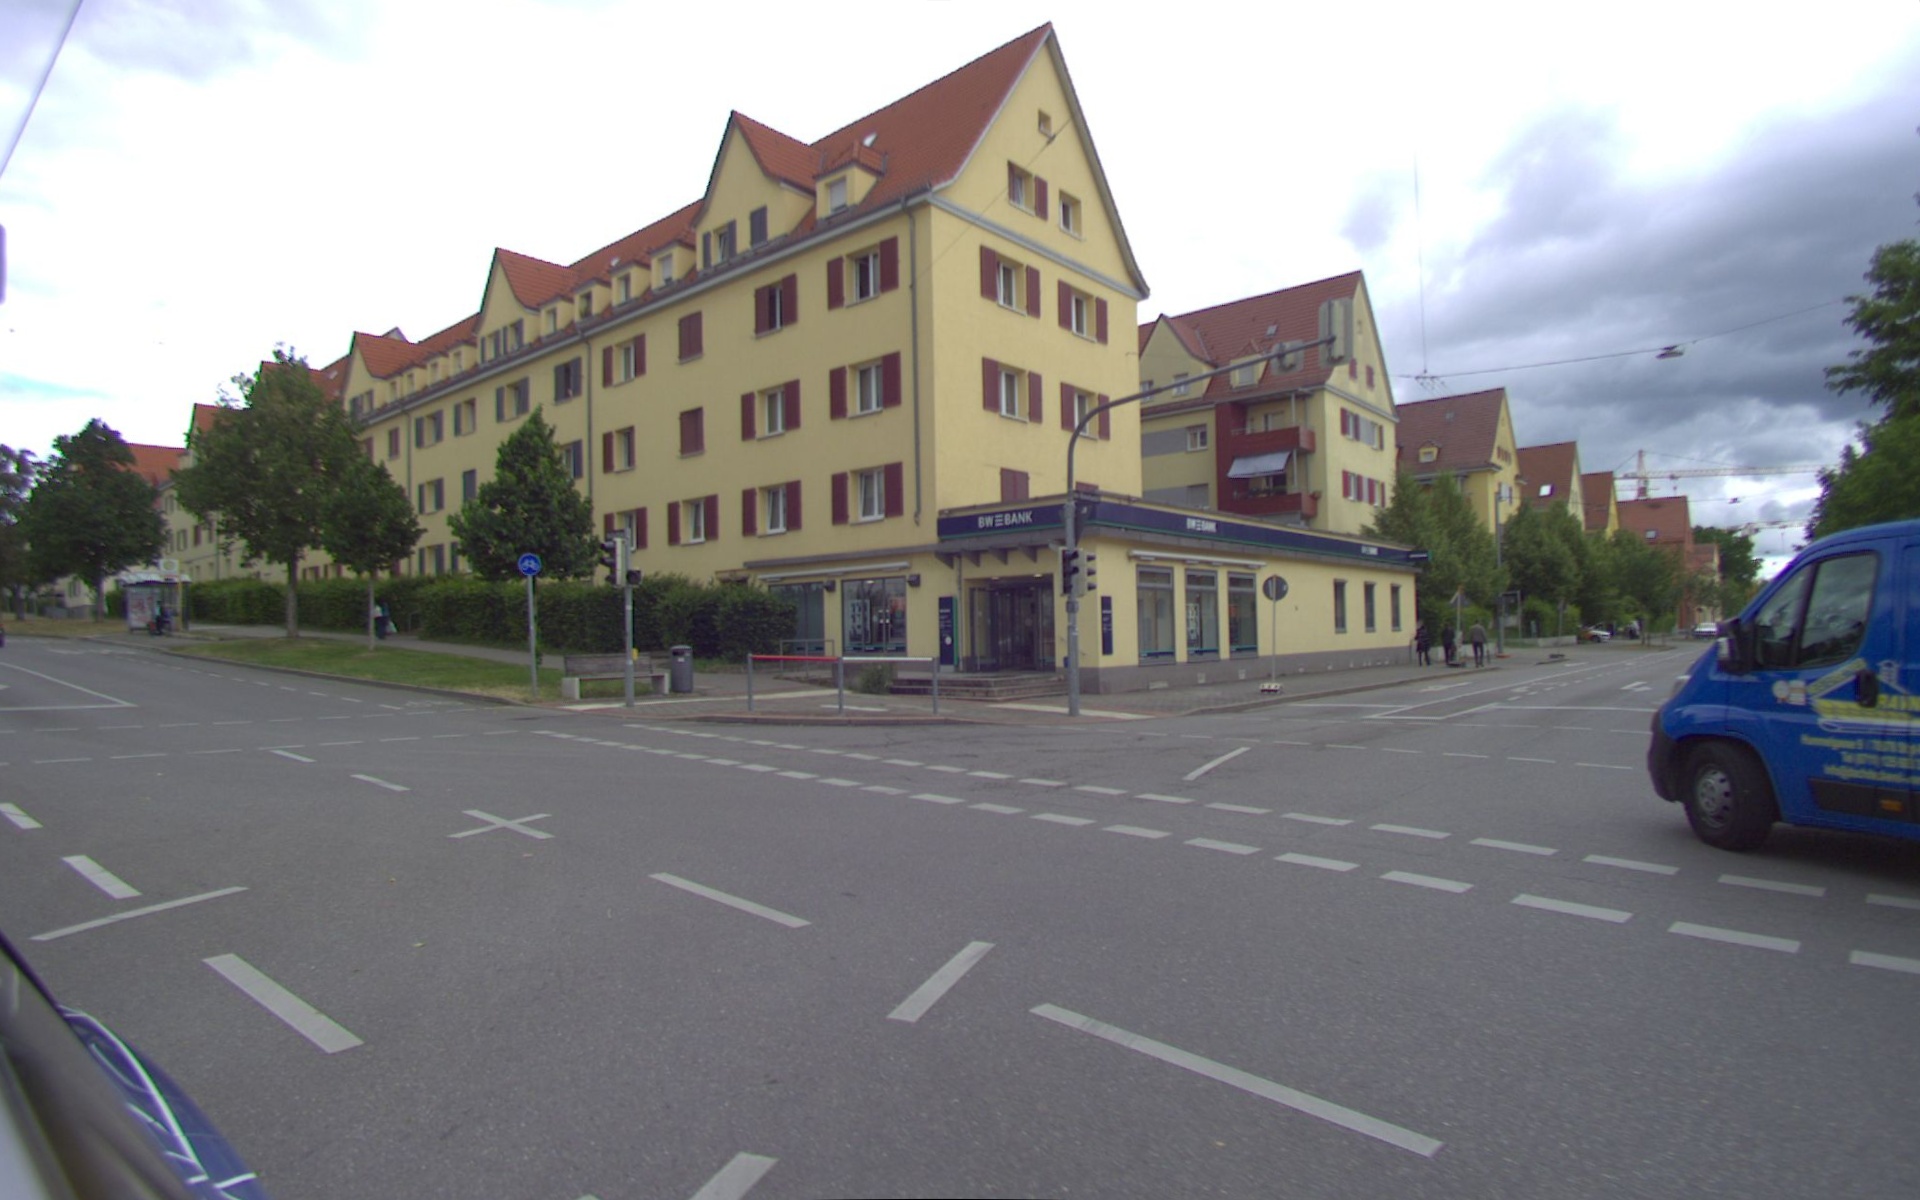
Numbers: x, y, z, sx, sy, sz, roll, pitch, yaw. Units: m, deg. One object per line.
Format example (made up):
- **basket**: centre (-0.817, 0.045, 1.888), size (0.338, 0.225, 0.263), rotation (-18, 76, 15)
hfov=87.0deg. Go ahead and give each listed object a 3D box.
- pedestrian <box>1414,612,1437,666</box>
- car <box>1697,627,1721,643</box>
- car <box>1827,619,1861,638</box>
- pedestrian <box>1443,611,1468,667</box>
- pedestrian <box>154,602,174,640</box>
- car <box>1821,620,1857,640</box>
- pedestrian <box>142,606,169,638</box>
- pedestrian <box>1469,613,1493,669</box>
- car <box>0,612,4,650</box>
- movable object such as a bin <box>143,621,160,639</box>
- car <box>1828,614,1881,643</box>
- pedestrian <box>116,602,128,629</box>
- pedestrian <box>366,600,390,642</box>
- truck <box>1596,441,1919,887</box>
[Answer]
- **pedestrian**: centre (17.705, 1.483, 38.498), size (0.682, 2.029, 0.680), rotation (-1, -1, 33)
- **car**: centre (71.408, 3.346, 96.524), size (1.701, 1.480, 3.951), rotation (-1, -1, 36)
- **car**: centre (76.667, 2.423, 87.836), size (1.844, 1.550, 3.951), rotation (-1, -1, 36)
- **pedestrian**: centre (18.422, 1.435, 37.606), size (0.683, 2.029, 0.679), rotation (-1, -1, 37)
- **pedestrian**: centre (-36.864, 0.975, 46.867), size (0.861, 1.740, 0.591), rotation (-1, 0, 43)
- **car**: centre (72.066, 2.429, 82.991), size (1.844, 1.550, 3.951), rotation (-1, -1, 36)
- **pedestrian**: centre (-38.663, 1.040, 48.637), size (0.806, 1.521, 0.890), rotation (-1, 0, 41)
- **pedestrian**: centre (19.246, 1.493, 37.399), size (0.682, 2.029, 0.679), rotation (-1, -1, 34)
- **car**: centre (-39.581, 1.196, 40.184), size (4.302, 1.484, 1.739), rotation (-1, -4, 39)
- **movable object such as a bin**: centre (-38.769, 1.420, 48.525), size (0.665, 0.852, 0.531), rotation (-1, 0, 42)
- **car**: centre (51.641, 1.607, 58.482), size (1.844, 1.550, 3.951), rotation (-1, -1, 36)
- **pedestrian**: centre (-56.398, 1.046, 68.110), size (0.752, 1.793, 0.508), rotation (-1, -1, 40)
- **pedestrian**: centre (-22.640, 0.819, 39.352), size (0.617, 1.631, 0.634), rotation (-1, -1, 39)
- **truck**: centre (6.586, 0.334, 4.742), size (2.265, 2.446, 6.425), rotation (1, -2, -11)
